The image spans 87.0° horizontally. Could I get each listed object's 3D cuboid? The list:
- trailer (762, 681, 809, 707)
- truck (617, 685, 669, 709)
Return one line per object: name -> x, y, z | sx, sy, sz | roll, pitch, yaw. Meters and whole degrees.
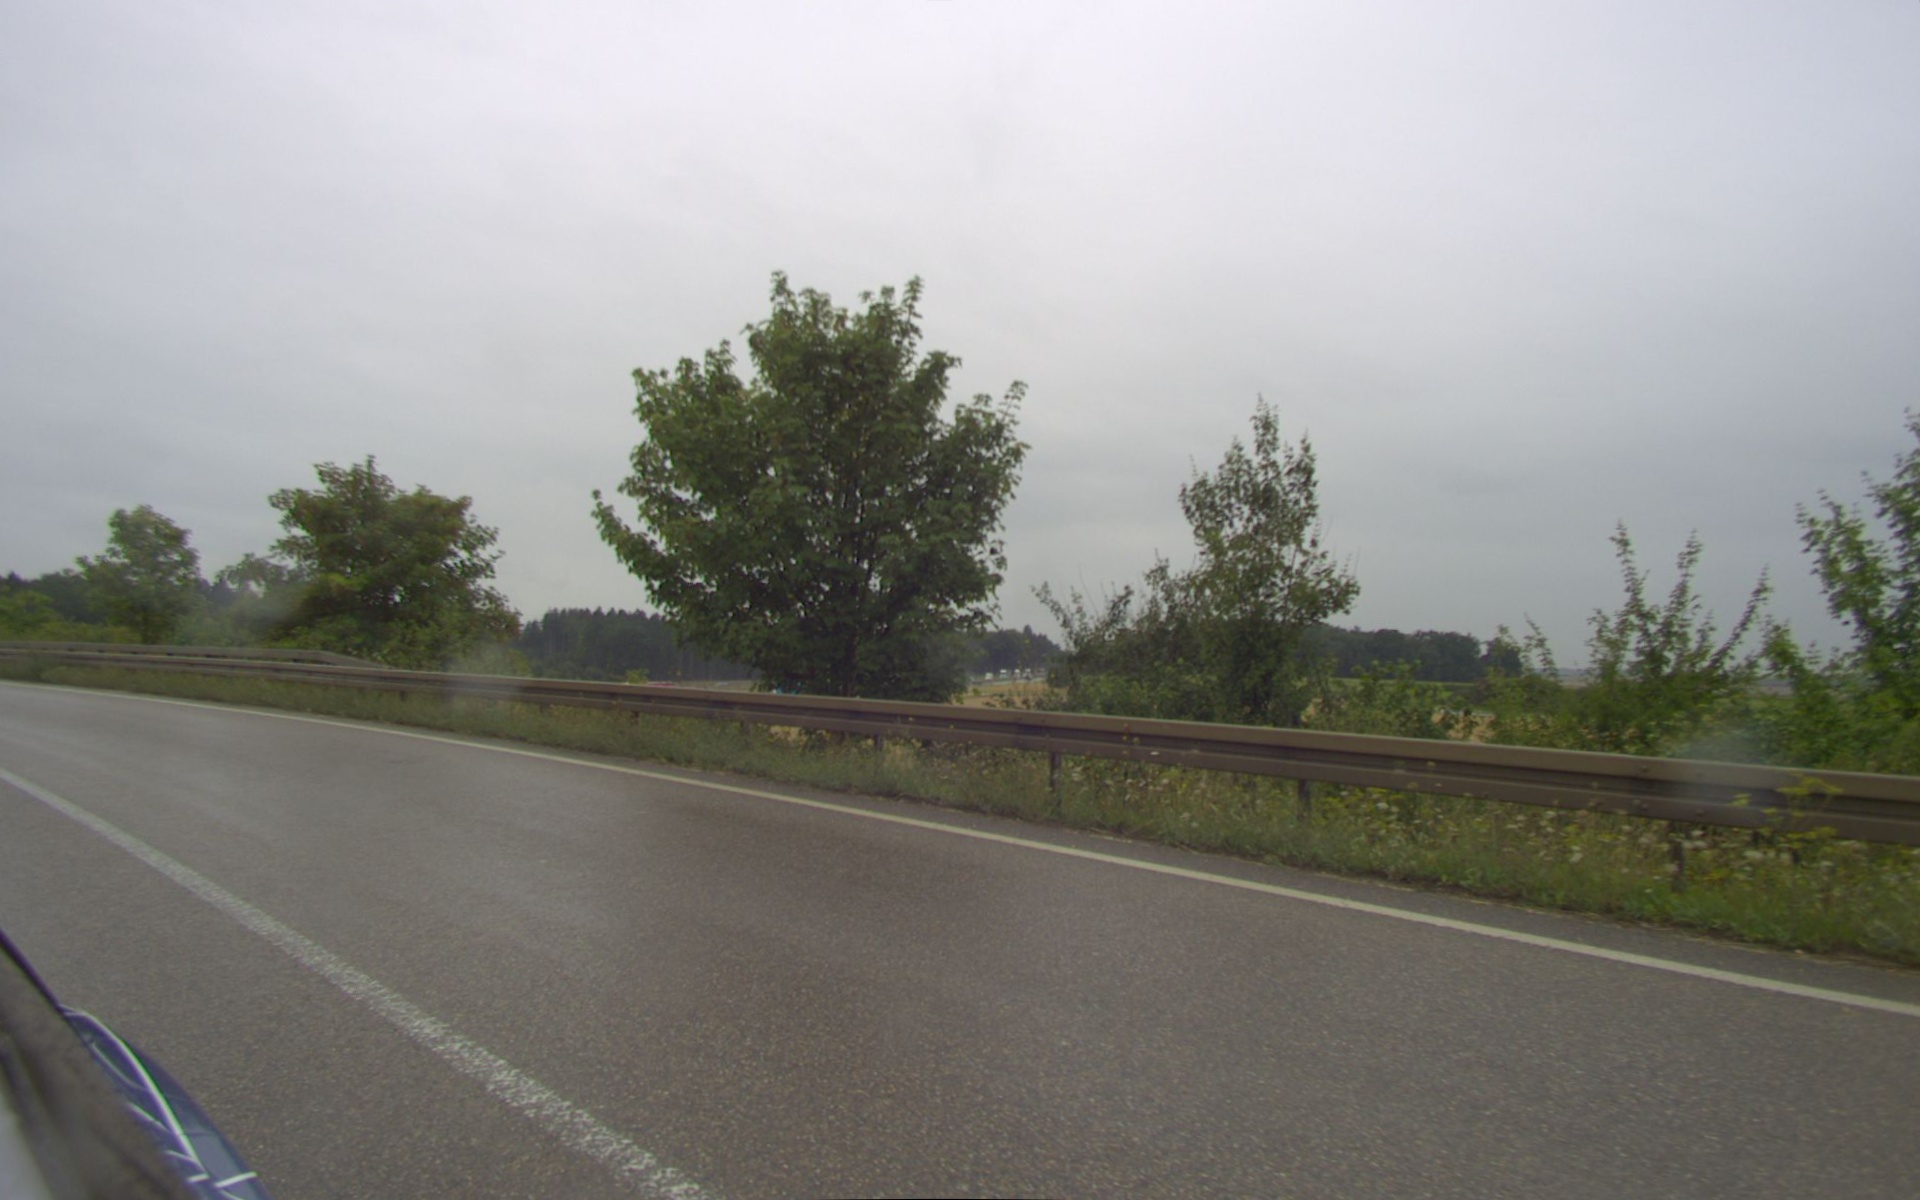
trailer -> -32.082, 17.217, 186.531 | 2.855, 4.251, 14.296 | -1, -4, 15
truck -> -53.166, 16.294, 169.953 | 2.761, 3.899, 10.585 | 0, -5, 16
